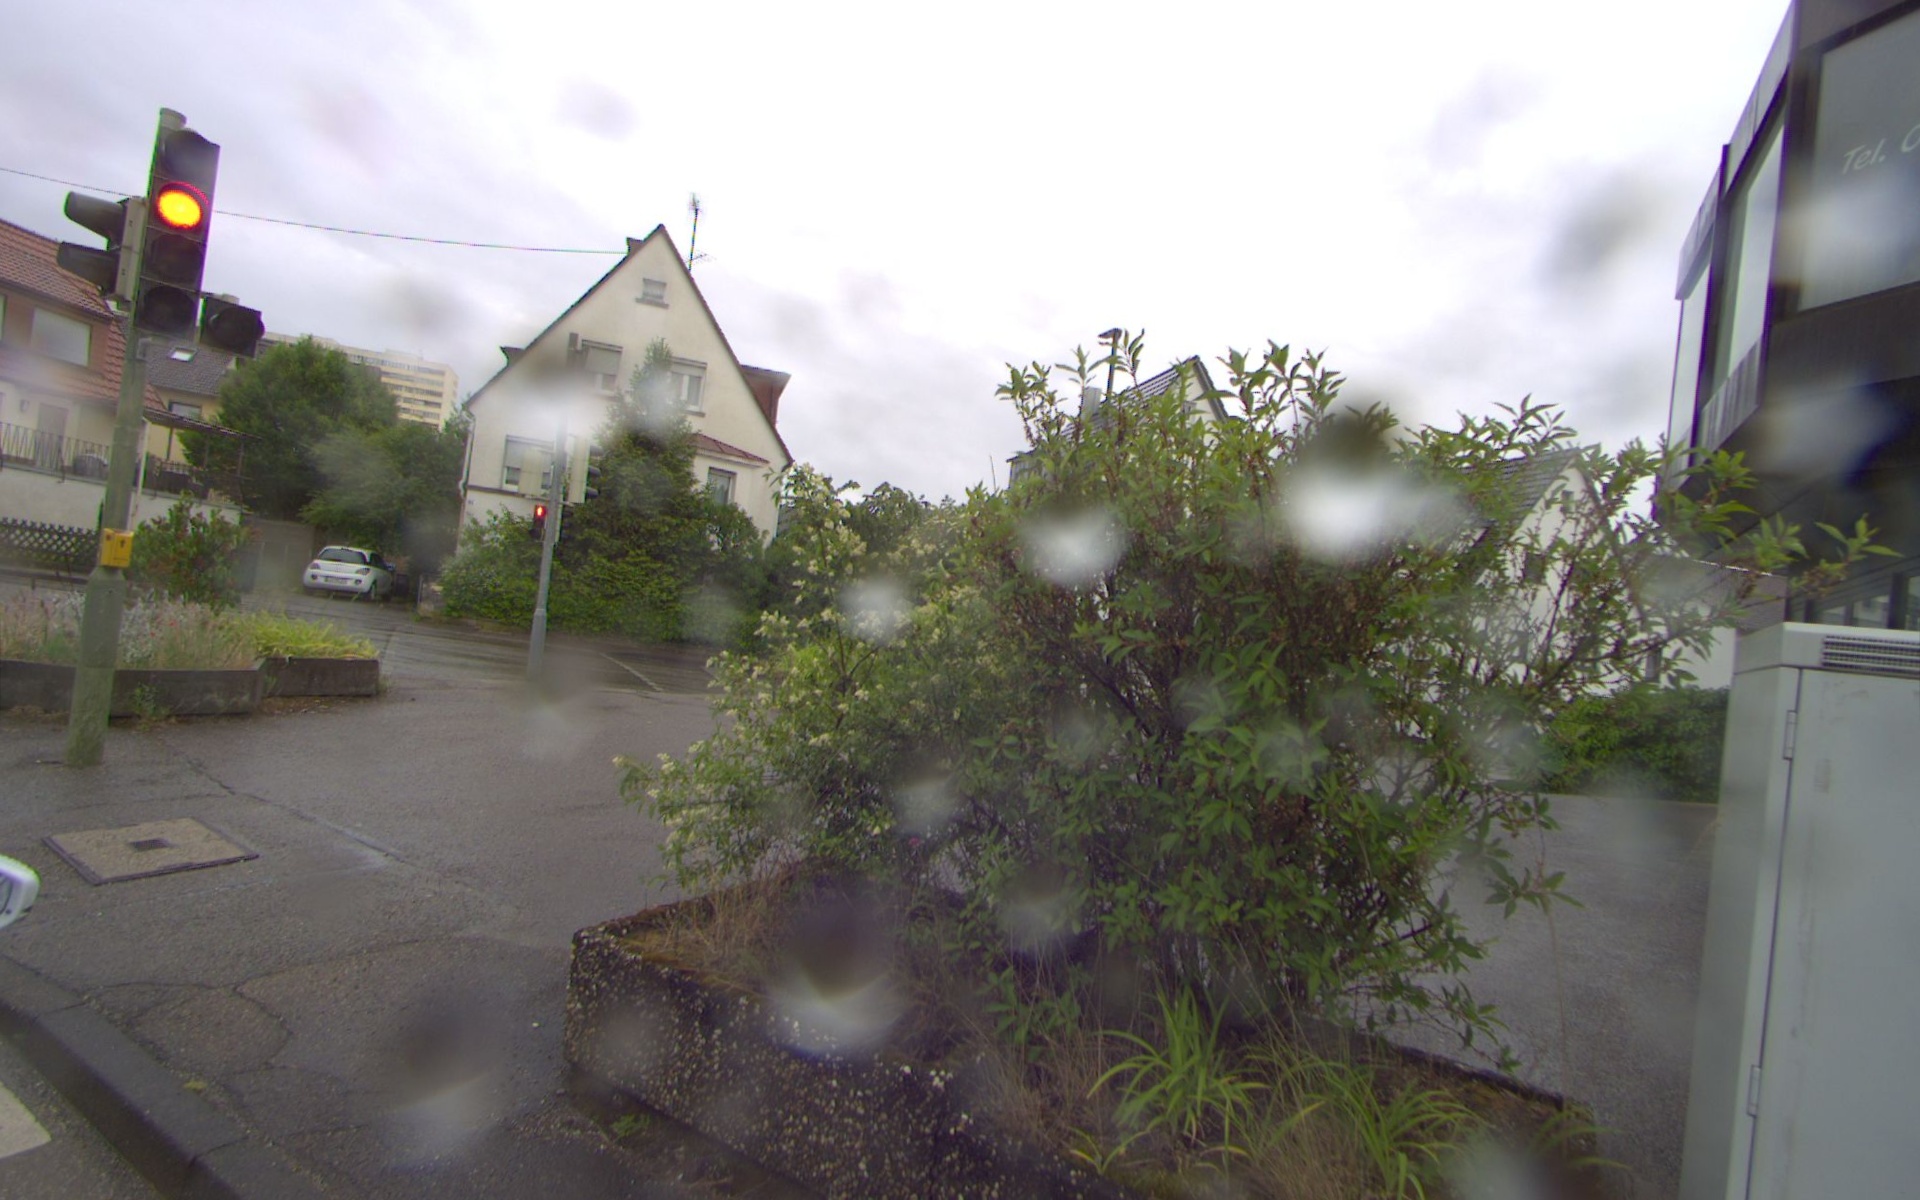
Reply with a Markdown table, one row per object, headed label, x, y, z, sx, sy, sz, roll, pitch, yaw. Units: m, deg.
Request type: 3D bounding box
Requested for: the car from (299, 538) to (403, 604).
| label | x | y | z | sx | sy | sz | roll | pitch | yaw |
| --- | --- | --- | --- | --- | --- | --- | --- | --- | --- |
| car | -17.677 | -0.824 | 29.367 | 1.722 | 1.532 | 3.982 | 9 | -2 | -21 |
